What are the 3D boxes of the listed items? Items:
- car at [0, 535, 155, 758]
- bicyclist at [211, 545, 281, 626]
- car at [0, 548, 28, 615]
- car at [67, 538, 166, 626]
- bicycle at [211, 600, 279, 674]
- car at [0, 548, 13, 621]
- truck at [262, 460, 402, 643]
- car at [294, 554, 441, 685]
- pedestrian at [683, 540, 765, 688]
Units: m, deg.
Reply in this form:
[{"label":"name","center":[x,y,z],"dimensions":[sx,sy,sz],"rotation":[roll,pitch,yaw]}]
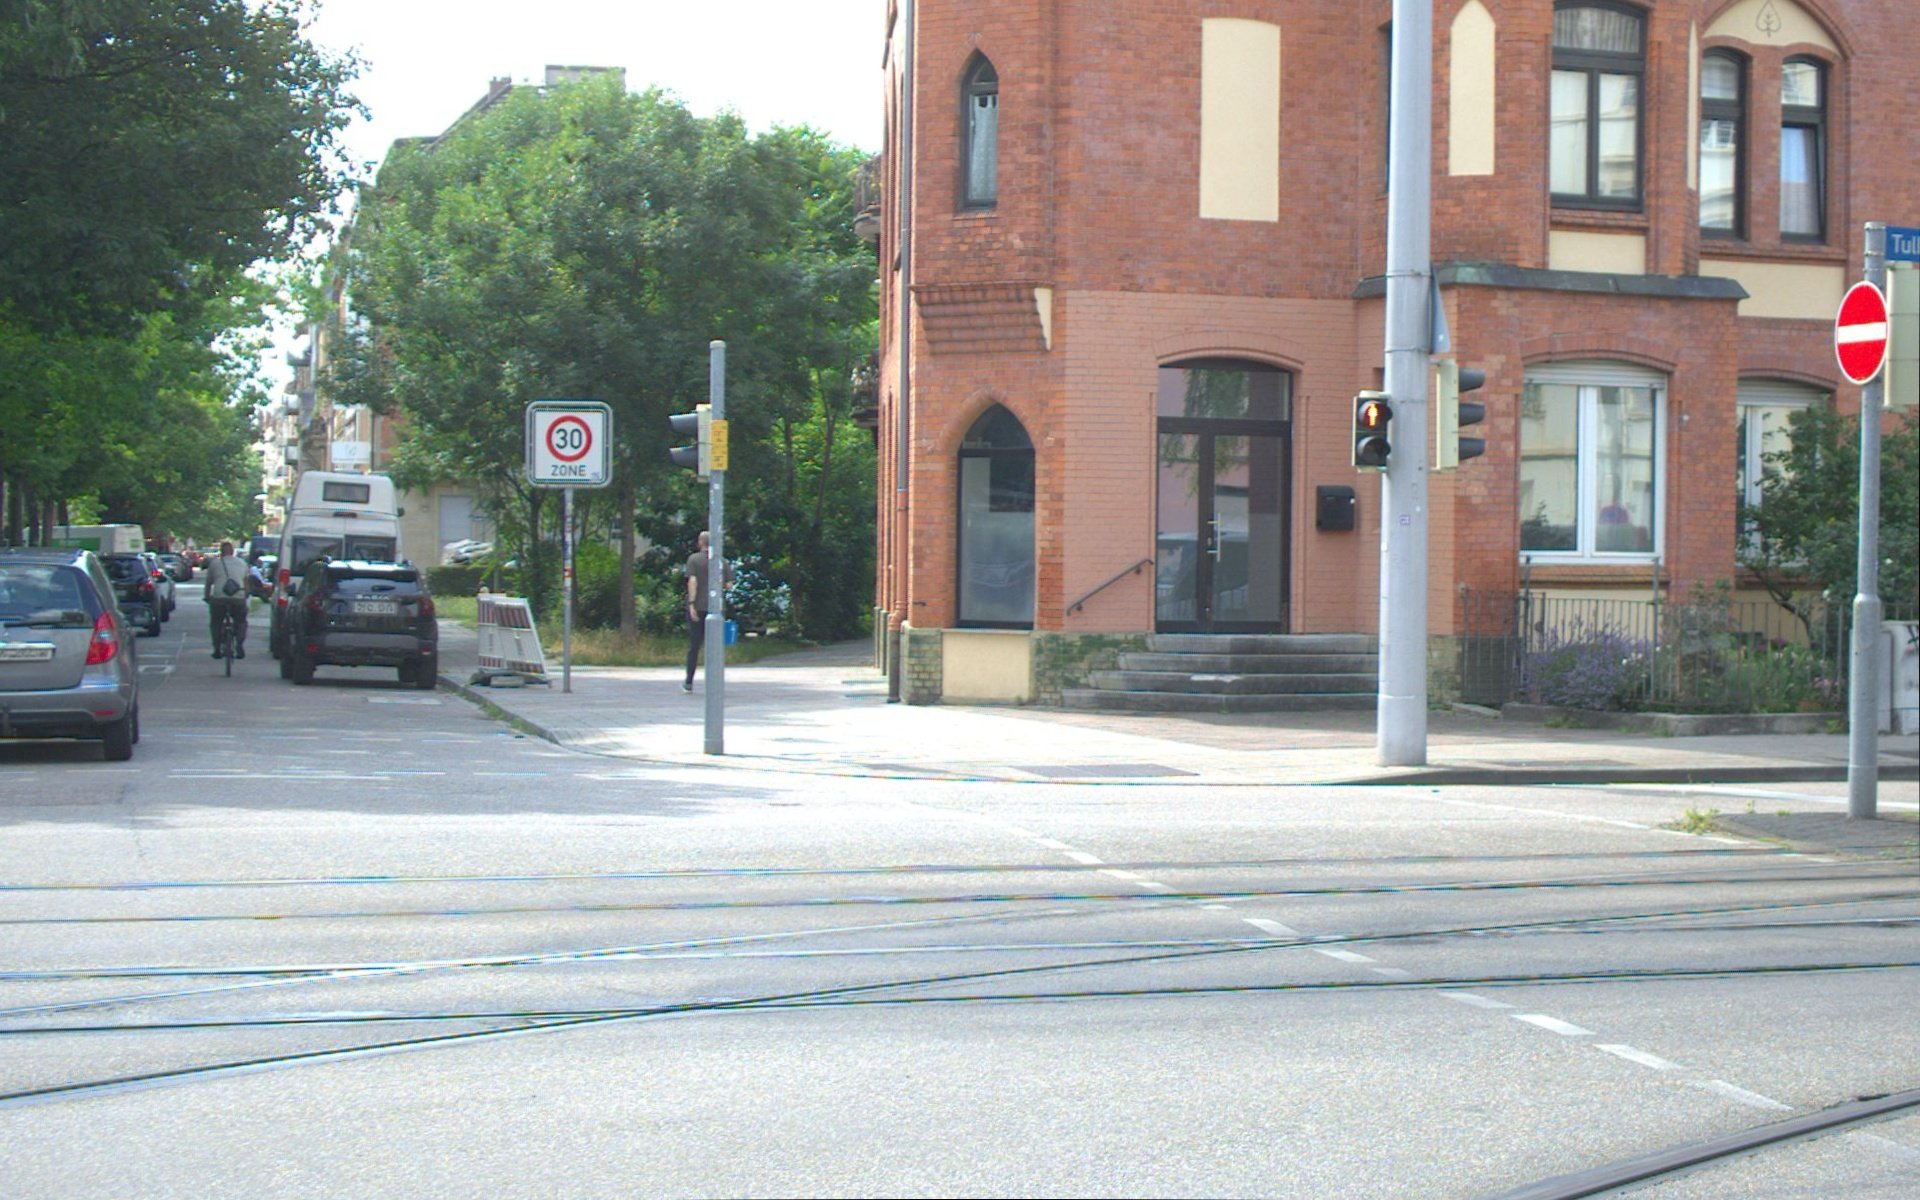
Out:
[{"label":"car","center":[-7.166,0.311,26.477],"dimensions":[1.722,1.600,3.678],"rotation":[0,1,-11]},{"label":"bicyclist","center":[-9.662,-0.205,46.561],"dimensions":[0.836,1.078,1.400],"rotation":[0,1,-8]},{"label":"car","center":[-22.619,-0.456,79.574],"dimensions":[1.752,1.512,3.500],"rotation":[1,1,-11]},{"label":"car","center":[-16.798,-0.370,68.576],"dimensions":[1.722,1.700,3.678],"rotation":[0,1,-11]},{"label":"bicycle","center":[-9.665,0.487,46.522],"dimensions":[0.749,0.955,2.299],"rotation":[0,1,-8]},{"label":"car","center":[-21.150,-0.353,72.963],"dimensions":[1.752,1.512,3.500],"rotation":[1,1,-11]},{"label":"truck","center":[-10.464,-0.809,57.533],"dimensions":[2.122,2.960,4.001],"rotation":[0,1,-8]},{"label":"car","center":[-7.718,0.227,44.978],"dimensions":[1.752,1.627,3.500],"rotation":[1,1,-8]},{"label":"pedestrian","center":[-2.684,0.157,38.988],"dimensions":[0.869,1.651,0.736],"rotation":[1,1,-7]}]
